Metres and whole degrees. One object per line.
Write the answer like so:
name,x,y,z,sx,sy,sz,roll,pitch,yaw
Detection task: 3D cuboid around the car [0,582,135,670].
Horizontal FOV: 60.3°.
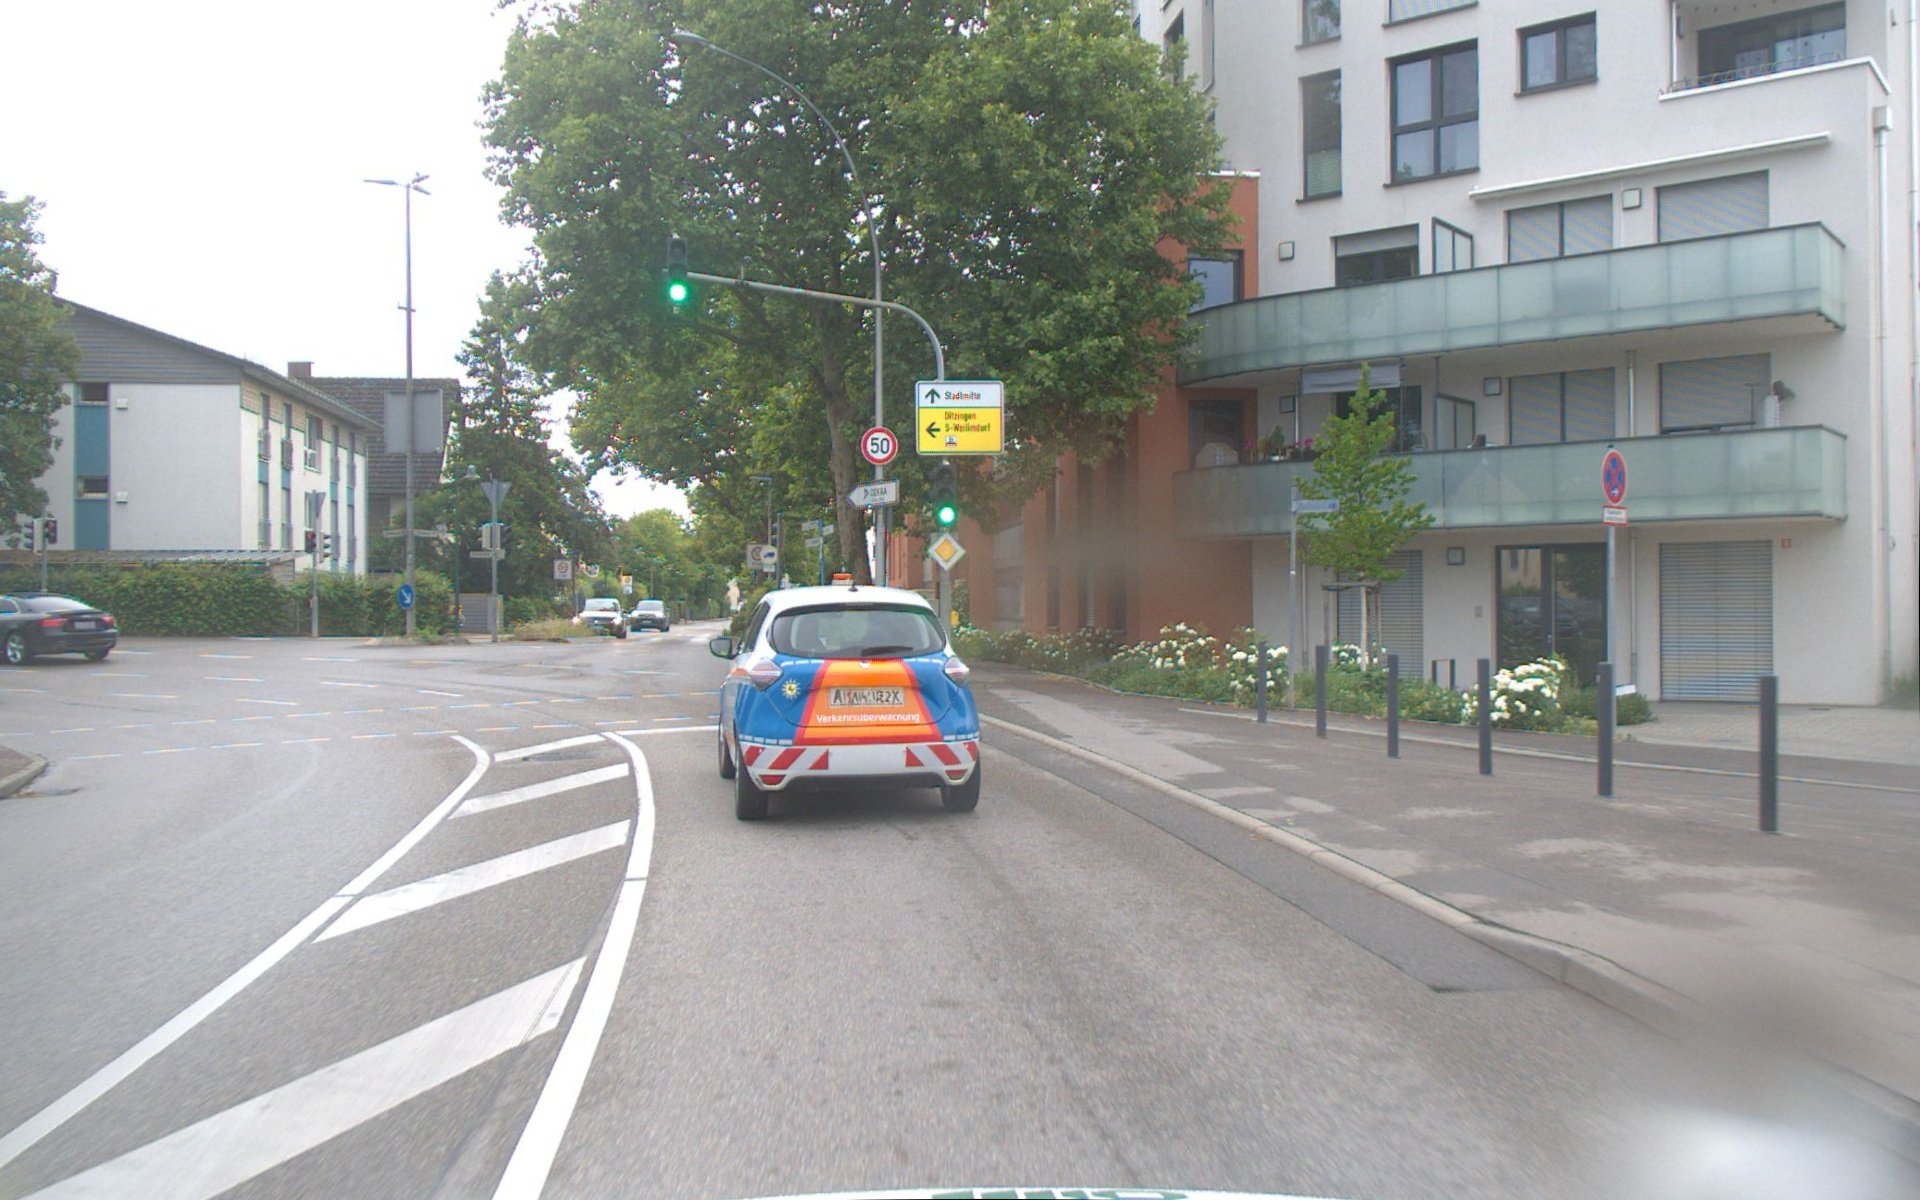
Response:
car,-18.873,0.480,33.635,3.915,1.601,1.995,2,1,32

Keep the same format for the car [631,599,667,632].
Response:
car,-16.872,0.843,89.857,1.843,1.698,3.705,1,0,-10

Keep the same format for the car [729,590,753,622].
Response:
car,-14.862,0.396,112.451,1.612,2.052,3.709,0,1,-7

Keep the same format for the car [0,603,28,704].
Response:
car,-16.315,0.846,25.109,3.907,1.481,1.729,0,3,24

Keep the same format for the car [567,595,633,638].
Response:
car,-13.308,0.609,61.343,1.905,1.477,4.293,1,-1,-6

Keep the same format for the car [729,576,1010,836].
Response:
car,-0.839,0.635,12.522,1.713,1.608,3.992,-1,1,-9
